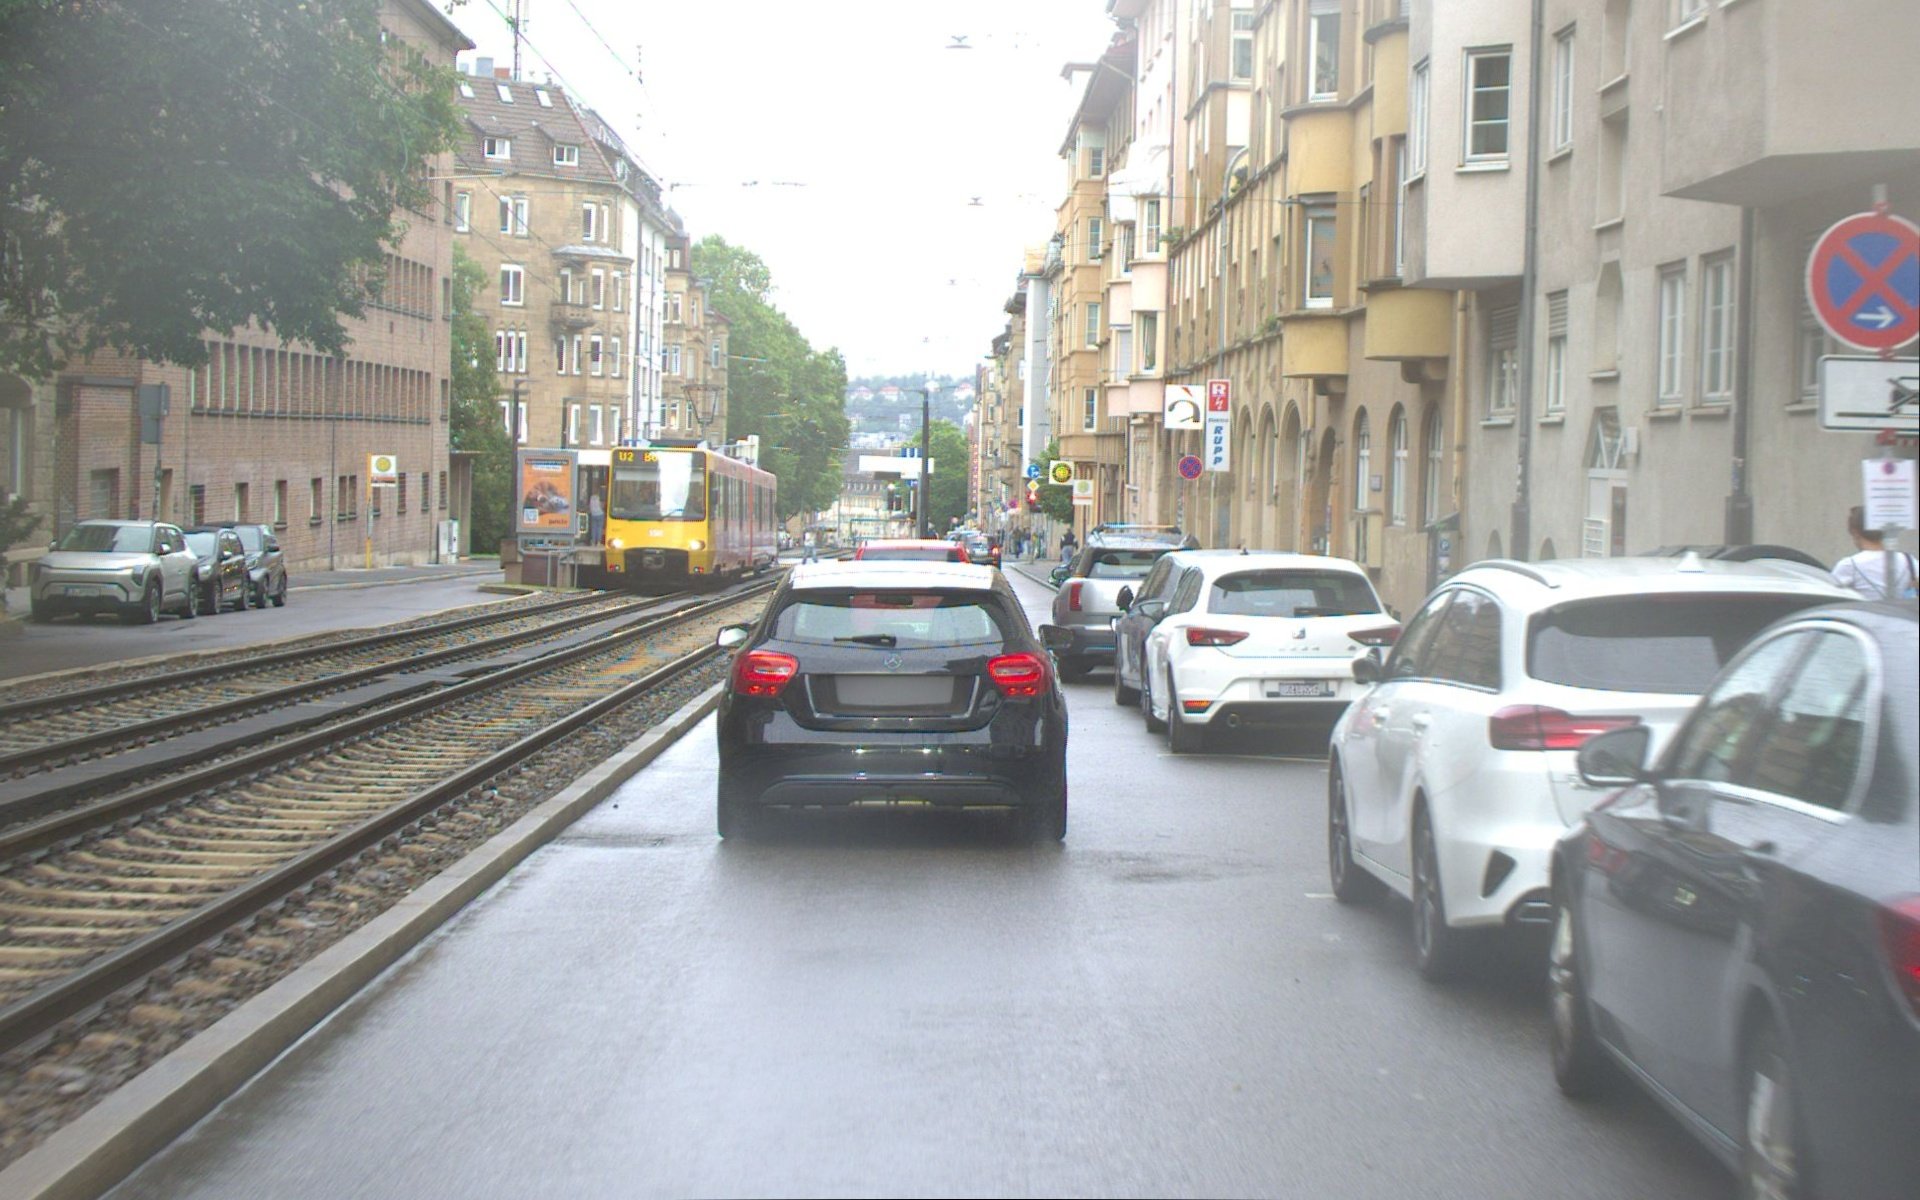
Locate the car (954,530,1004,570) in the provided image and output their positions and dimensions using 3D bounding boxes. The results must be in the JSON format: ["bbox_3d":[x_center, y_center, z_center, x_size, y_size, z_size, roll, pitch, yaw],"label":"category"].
[{"bbox_3d":[0.783,-2.008,138.140,1.887,1.520,4.245,2,1,2],"label":"car"}]

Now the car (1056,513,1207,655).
[{"bbox_3d":[2.194,-0.217,44.976,1.778,1.744,4.548,1,0,1],"label":"car"}]

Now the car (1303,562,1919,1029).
[{"bbox_3d":[2.426,0.602,13.268,1.712,1.463,4.774,1,0,0],"label":"car"}]

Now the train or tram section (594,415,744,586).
[{"bbox_3d":[-7.468,-2.563,90.445,2.745,4.048,17.216,1,1,-1],"label":"train or tram section"}]

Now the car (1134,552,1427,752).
[{"bbox_3d":[2.363,0.349,26.328,1.789,1.381,4.395,1,0,0],"label":"car"}]

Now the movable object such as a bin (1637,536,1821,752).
[{"bbox_3d":[5.372,0.296,24.097,0.980,1.463,1.273,1,0,-1],"label":"movable object such as a bin"}]

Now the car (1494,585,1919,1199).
[{"bbox_3d":[2.407,0.685,7.901,1.711,1.405,4.817,1,0,1],"label":"car"}]

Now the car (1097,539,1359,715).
[{"bbox_3d":[2.336,0.209,30.997,1.832,1.463,4.376,1,0,-2],"label":"car"}]

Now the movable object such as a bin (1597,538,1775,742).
[{"bbox_3d":[5.388,0.285,25.594,1.018,1.463,1.323,1,0,-1],"label":"movable object such as a bin"}]

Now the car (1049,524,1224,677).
[{"bbox_3d":[1.960,-0.015,38.920,1.841,1.602,4.760,1,0,2],"label":"car"}]

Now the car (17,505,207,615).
[{"bbox_3d":[-13.232,-0.655,53.901,1.961,1.600,4.329,2,1,-1],"label":"car"}]

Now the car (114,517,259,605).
[{"bbox_3d":[-13.226,-0.696,58.960,1.666,1.410,3.688,2,1,-1],"label":"car"}]

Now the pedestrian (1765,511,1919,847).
[{"bbox_3d":[4.626,0.395,17.614,0.804,1.681,0.754,1,0,-1],"label":"pedestrian"}]

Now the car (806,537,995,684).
[{"bbox_3d":[-0.643,0.081,39.186,1.993,1.520,4.246,2,1,0],"label":"car"}]

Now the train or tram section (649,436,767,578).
[{"bbox_3d":[-7.695,-2.837,106.671,2.745,4.048,15.662,1,1,-1],"label":"train or tram section"}]

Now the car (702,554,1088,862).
[{"bbox_3d":[-0.314,0.494,18.491,1.834,1.448,3.902,1,1,0],"label":"car"}]

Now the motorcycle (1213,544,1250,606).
[{"bbox_3d":[5.354,-0.510,67.824,0.556,1.156,2.269,-3,1,2],"label":"motorcycle"}]

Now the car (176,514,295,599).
[{"bbox_3d":[-13.200,-0.814,62.723,1.572,1.461,3.045,2,1,-2],"label":"car"}]
